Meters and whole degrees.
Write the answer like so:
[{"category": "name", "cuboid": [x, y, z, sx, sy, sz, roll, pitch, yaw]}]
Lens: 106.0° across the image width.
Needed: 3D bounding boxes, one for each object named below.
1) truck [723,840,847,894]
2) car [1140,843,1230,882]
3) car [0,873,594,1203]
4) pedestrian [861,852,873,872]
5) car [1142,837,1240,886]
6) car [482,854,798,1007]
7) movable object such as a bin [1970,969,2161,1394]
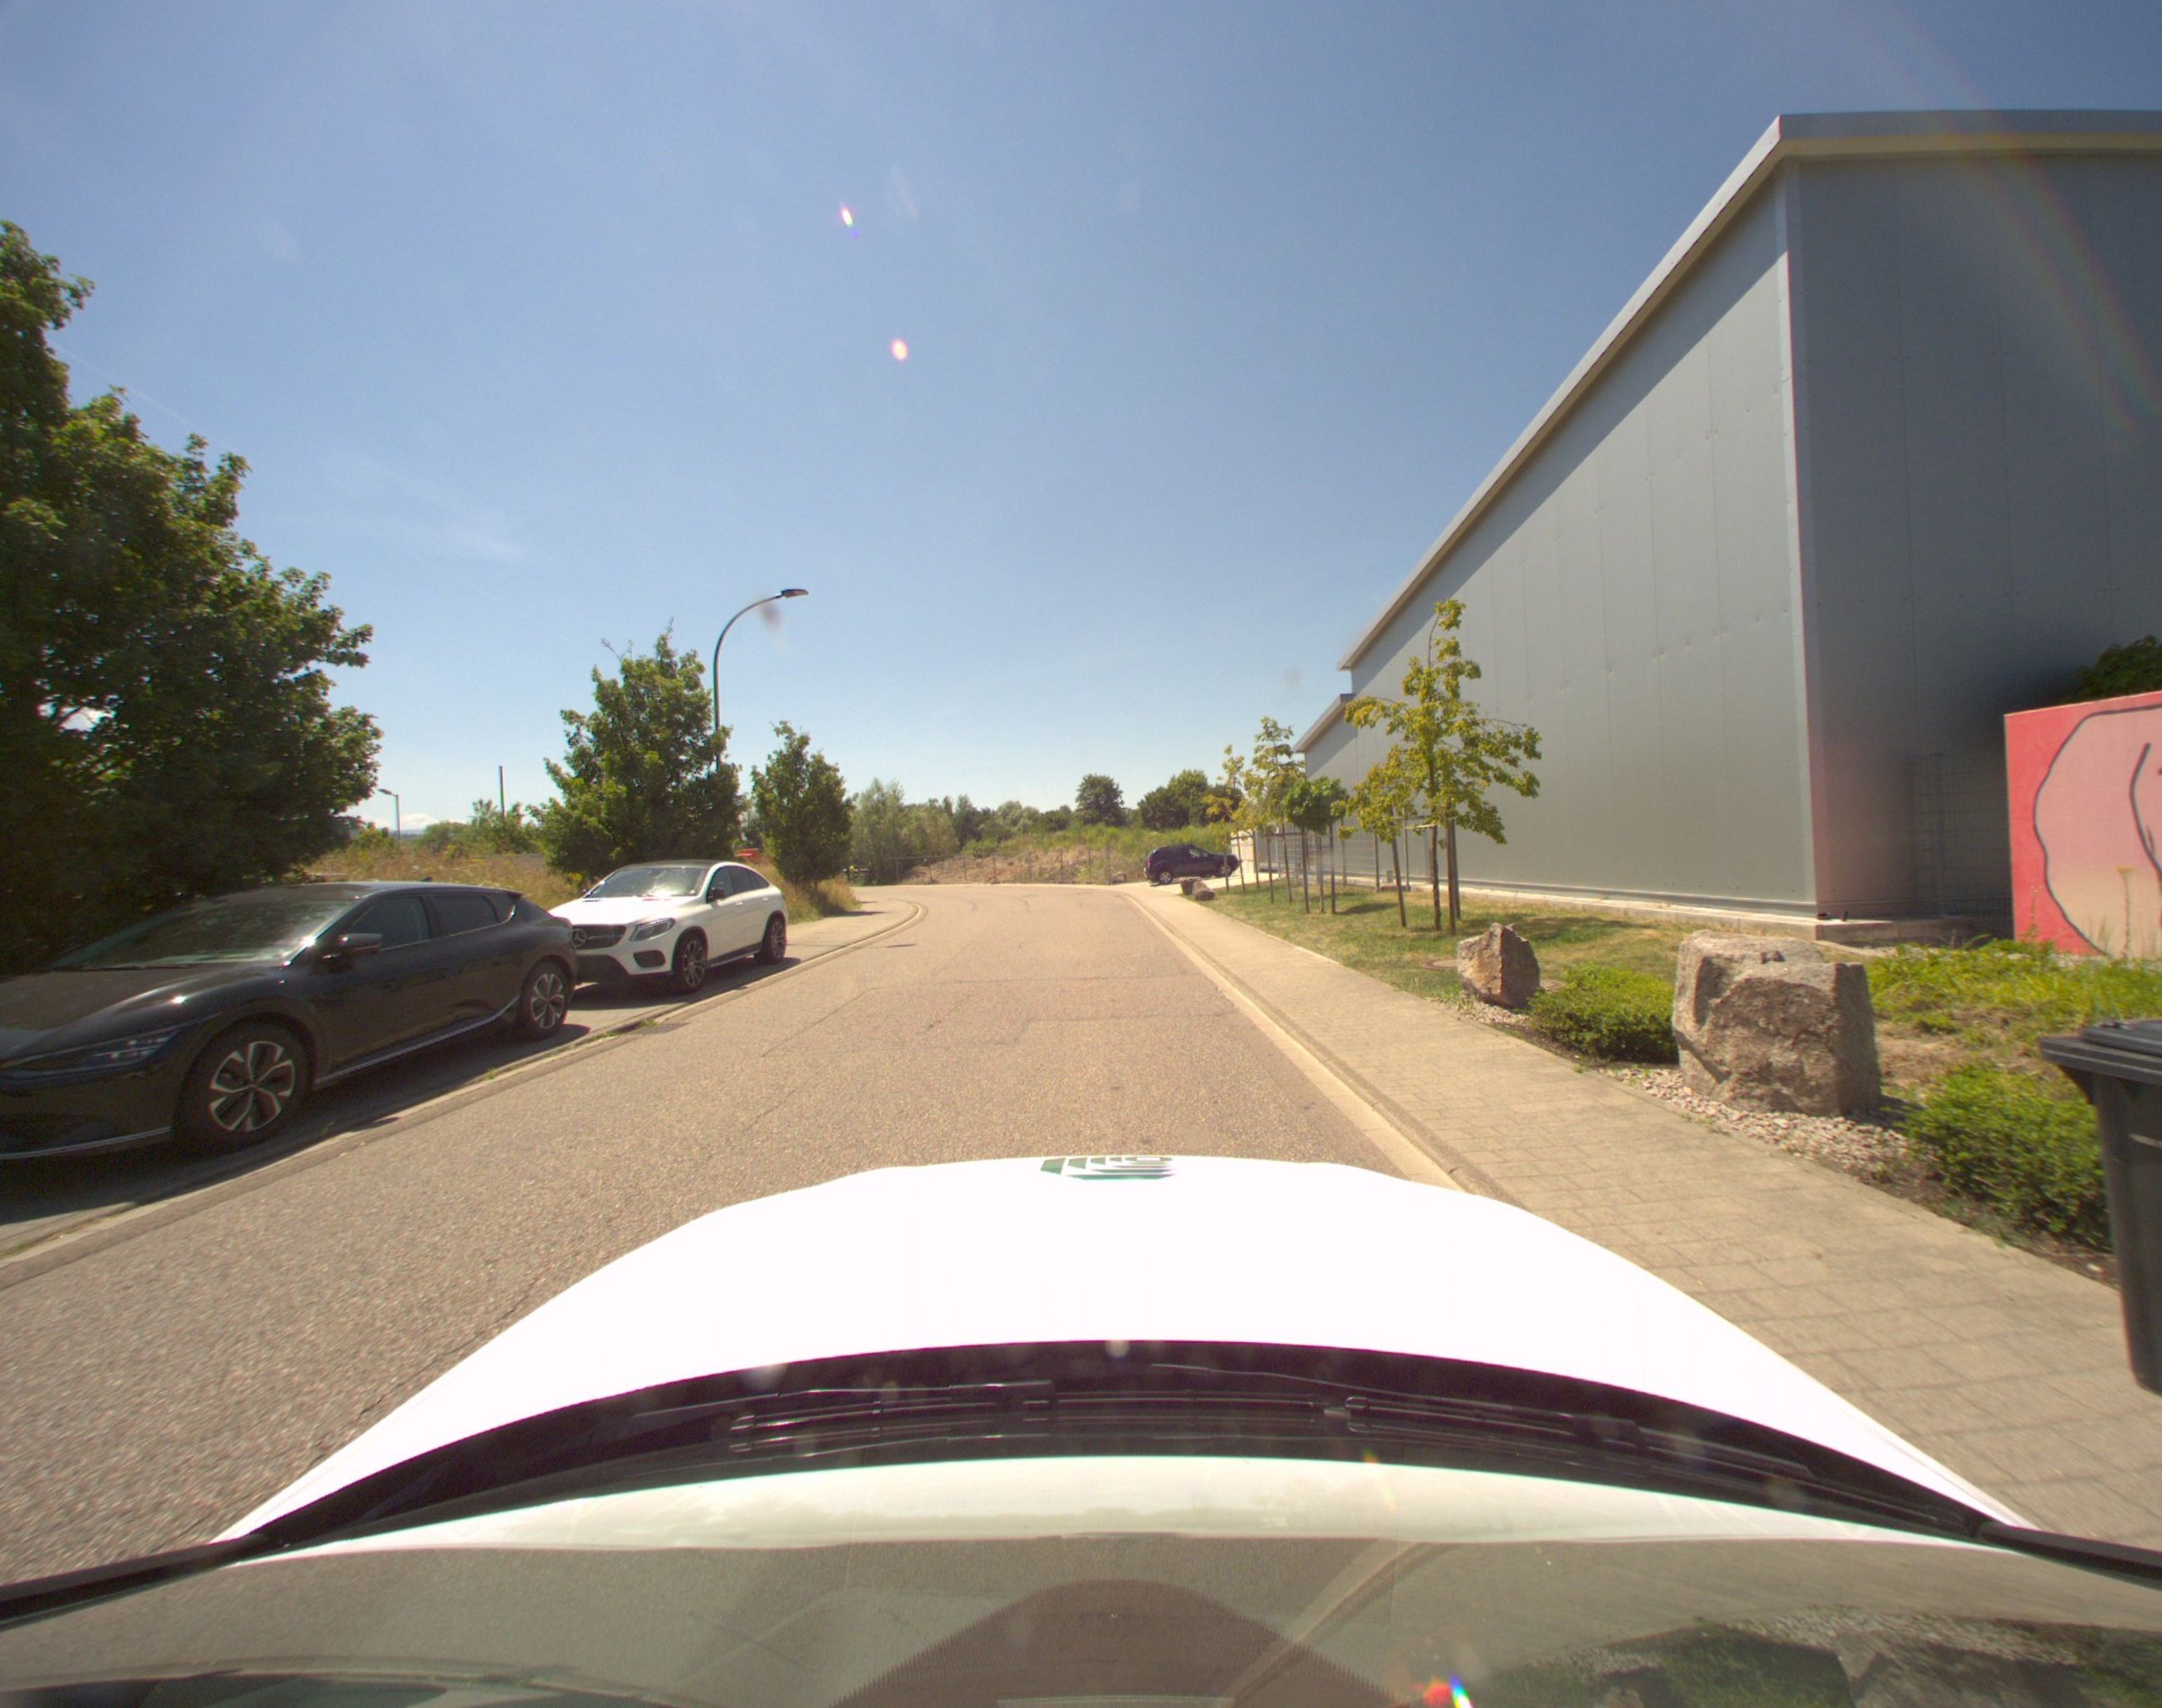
[{"category": "truck", "cuboid": [-24.257, 1.030, 67.308, 8.565, 3.806, 4.160, -3, 0, -3]}, {"category": "car", "cuboid": [4.952, 0.388, 39.216, 3.998, 1.462, 1.892, -5, 0, -1]}, {"category": "car", "cuboid": [-5.915, 0.970, 6.175, 1.908, 1.491, 4.408, -1, 0, -3]}, {"category": "pedestrian", "cuboid": [-19.702, 0.703, 75.073, 0.874, 1.825, 0.739, -2, 0, -2]}, {"category": "car", "cuboid": [4.918, 0.332, 36.772, 3.998, 1.655, 1.857, -7, 0, -1]}, {"category": "car", "cuboid": [-5.927, 0.887, 11.807, 1.906, 1.655, 4.754, -3, 0, 0]}, {"category": "movable object such as a bin", "cuboid": [2.880, 0.825, 2.089, 0.557, 0.946, 0.539, -4, 0, -2]}]
